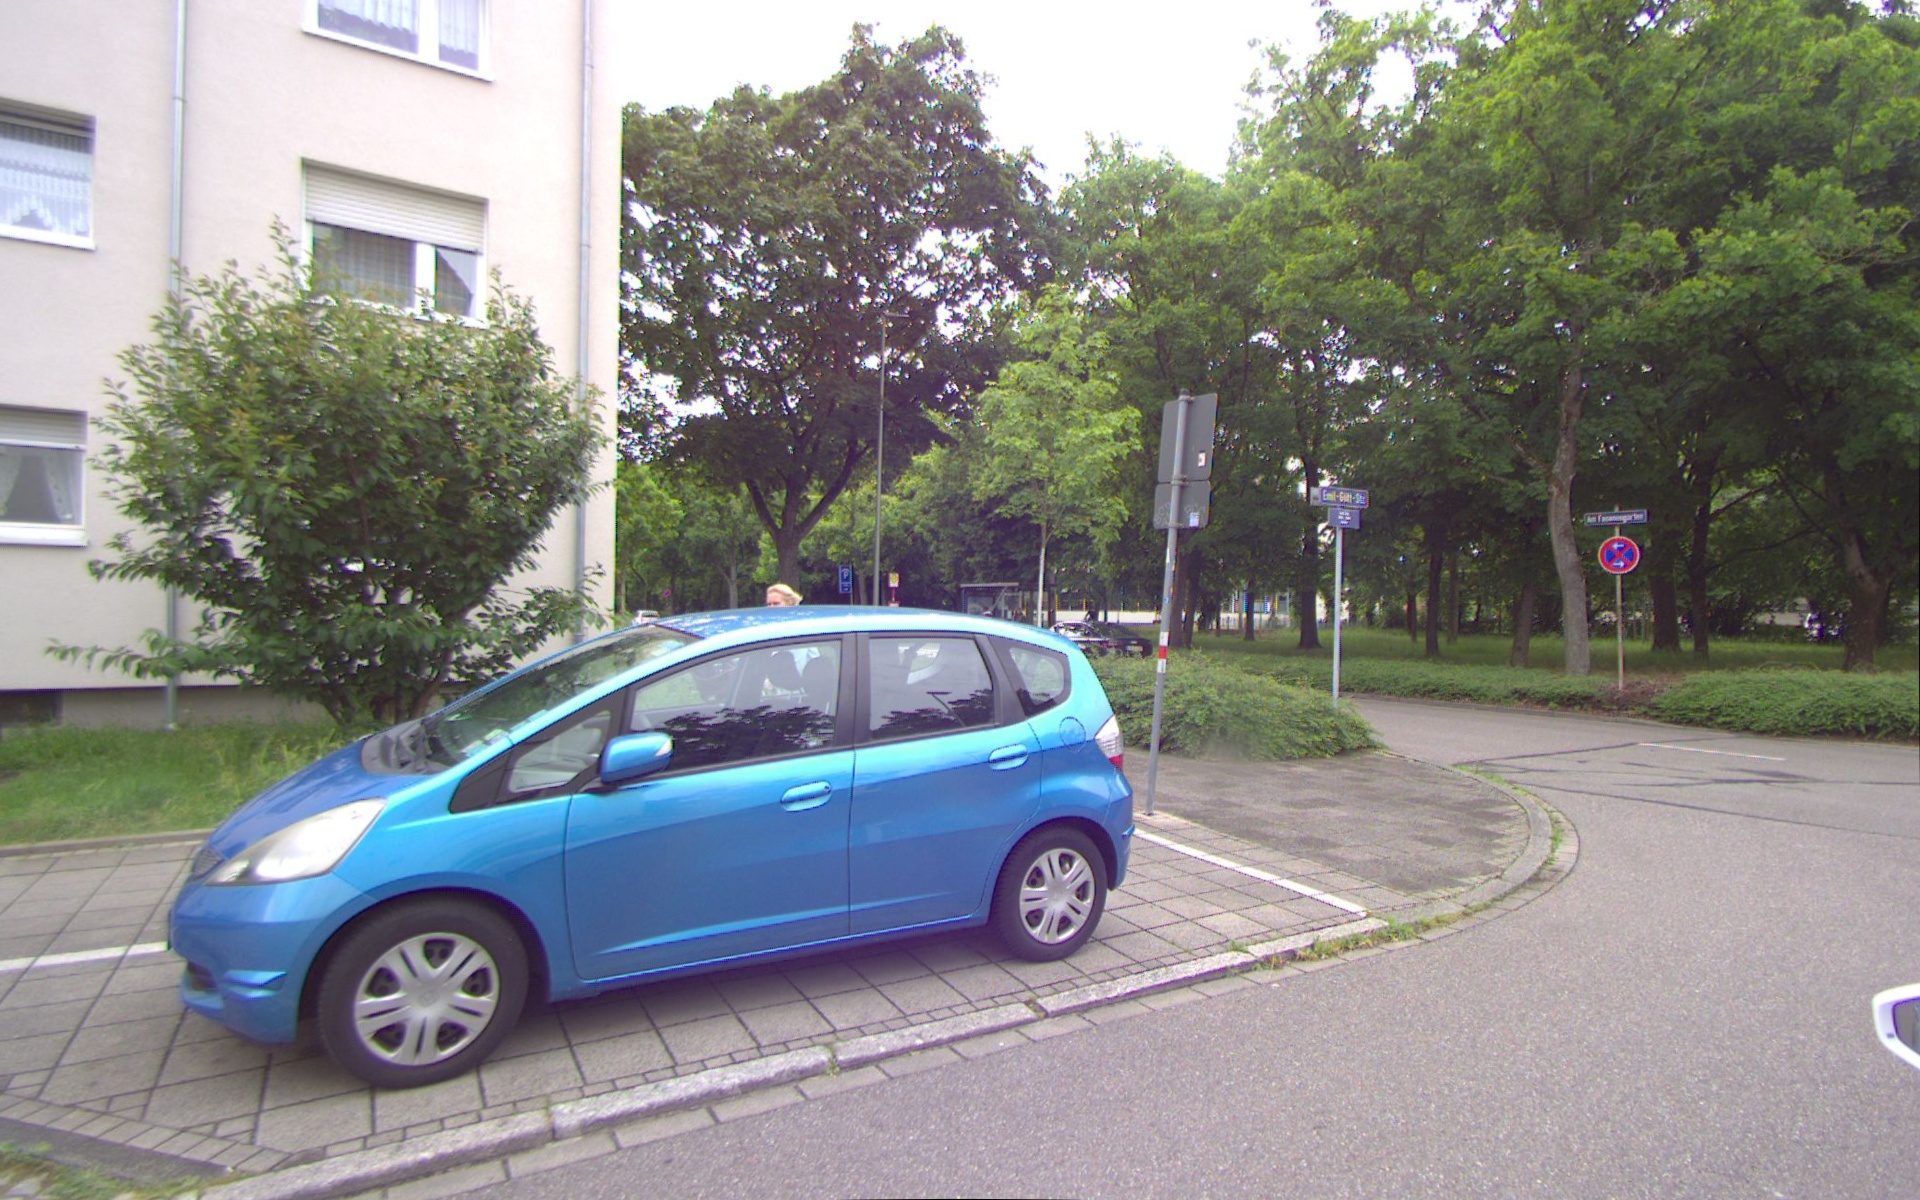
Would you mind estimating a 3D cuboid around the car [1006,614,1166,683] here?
[{"bbox_3d":[3.126,1.196,25.648,1.851,1.481,4.081,6,-3,-32],"label":"car"}]

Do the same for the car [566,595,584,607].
[{"bbox_3d":[-68.134,0.137,177.679,1.981,2.040,3.959,0,0,-36],"label":"car"}]

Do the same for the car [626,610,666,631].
[{"bbox_3d":[-22.907,1.490,73.207,1.883,1.506,3.967,1,-1,-31],"label":"car"}]

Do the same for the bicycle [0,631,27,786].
[{"bbox_3d":[-7.842,0.761,6.782,2.150,1.085,0.654,1,0,-31],"label":"bicycle"}]

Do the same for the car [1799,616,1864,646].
[{"bbox_3d":[50.488,1.792,58.175,3.959,1.639,1.905,1,-1,-35],"label":"car"}]

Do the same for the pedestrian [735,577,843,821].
[{"bbox_3d":[-1.166,0.645,6.814,0.560,1.570,0.445,1,3,-28],"label":"pedestrian"}]

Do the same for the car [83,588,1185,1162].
[{"bbox_3d":[-1.078,0.755,4.416,3.912,1.482,1.721,1,2,-31],"label":"car"}]

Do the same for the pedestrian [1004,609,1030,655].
[{"bbox_3d":[2.009,1.123,35.652,0.648,1.604,0.693,0,0,-29],"label":"pedestrian"}]

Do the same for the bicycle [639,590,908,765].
[{"bbox_3d":[-1.318,0.525,7.117,1.789,1.135,0.536,1,3,-18],"label":"bicycle"}]
